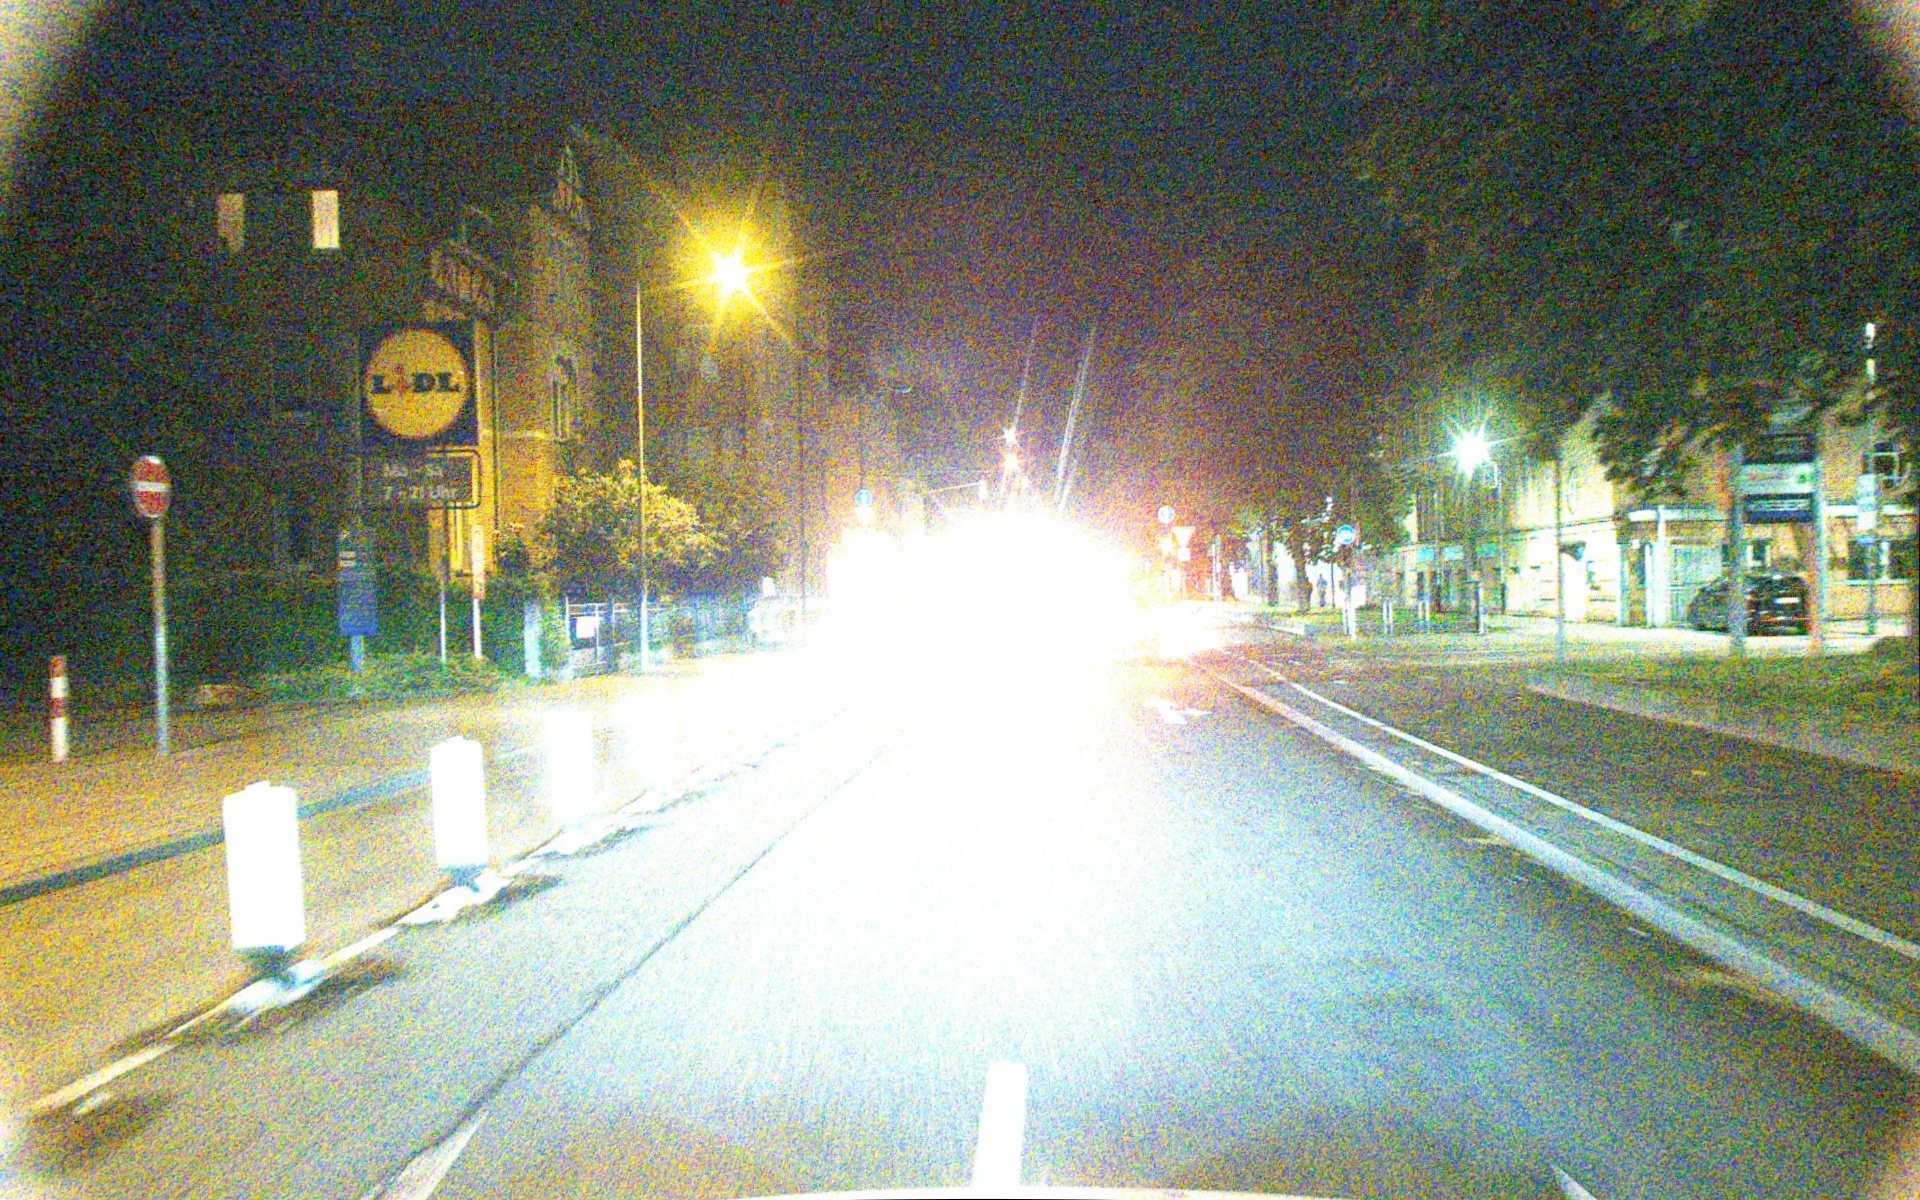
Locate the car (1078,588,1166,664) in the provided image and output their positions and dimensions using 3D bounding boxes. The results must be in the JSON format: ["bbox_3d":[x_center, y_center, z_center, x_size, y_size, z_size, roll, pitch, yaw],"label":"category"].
[{"bbox_3d":[3.453,0.514,35.890,1.767,1.520,4.732,0,0,4],"label":"car"}]

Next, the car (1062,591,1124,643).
[{"bbox_3d":[3.921,0.464,49.240,1.693,1.460,4.212,0,0,2],"label":"car"}]

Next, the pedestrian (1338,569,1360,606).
[{"bbox_3d":[19.740,-0.634,83.898,0.882,1.799,0.907,-2,0,3],"label":"pedestrian"}]

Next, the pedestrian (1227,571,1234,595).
[{"bbox_3d":[23.425,-1.439,143.261,0.477,2.049,0.551,-2,0,3],"label":"pedestrian"}]

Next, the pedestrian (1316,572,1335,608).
[{"bbox_3d":[18.512,-0.492,83.861,0.723,1.799,0.907,-2,0,3],"label":"pedestrian"}]

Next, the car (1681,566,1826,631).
[{"bbox_3d":[18.977,-0.038,39.768,1.481,1.419,4.483,-2,0,3],"label":"car"}]

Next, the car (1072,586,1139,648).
[{"bbox_3d":[3.680,0.401,42.311,1.603,1.520,4.002,0,0,3],"label":"car"}]

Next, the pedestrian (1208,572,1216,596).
[{"bbox_3d":[21.845,-1.394,143.198,0.520,2.049,0.670,-2,0,3],"label":"pedestrian"}]

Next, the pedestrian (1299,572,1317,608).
[{"bbox_3d":[17.681,-0.495,83.991,0.699,1.799,0.907,-2,0,3],"label":"pedestrian"}]

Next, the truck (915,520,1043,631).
[{"bbox_3d":[0.552,-0.822,63.196,2.706,3.782,10.084,-3,0,-11],"label":"truck"}]

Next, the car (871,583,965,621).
[{"bbox_3d":[-1.974,0.098,77.184,3.935,1.668,1.985,-1,0,-24],"label":"car"}]
